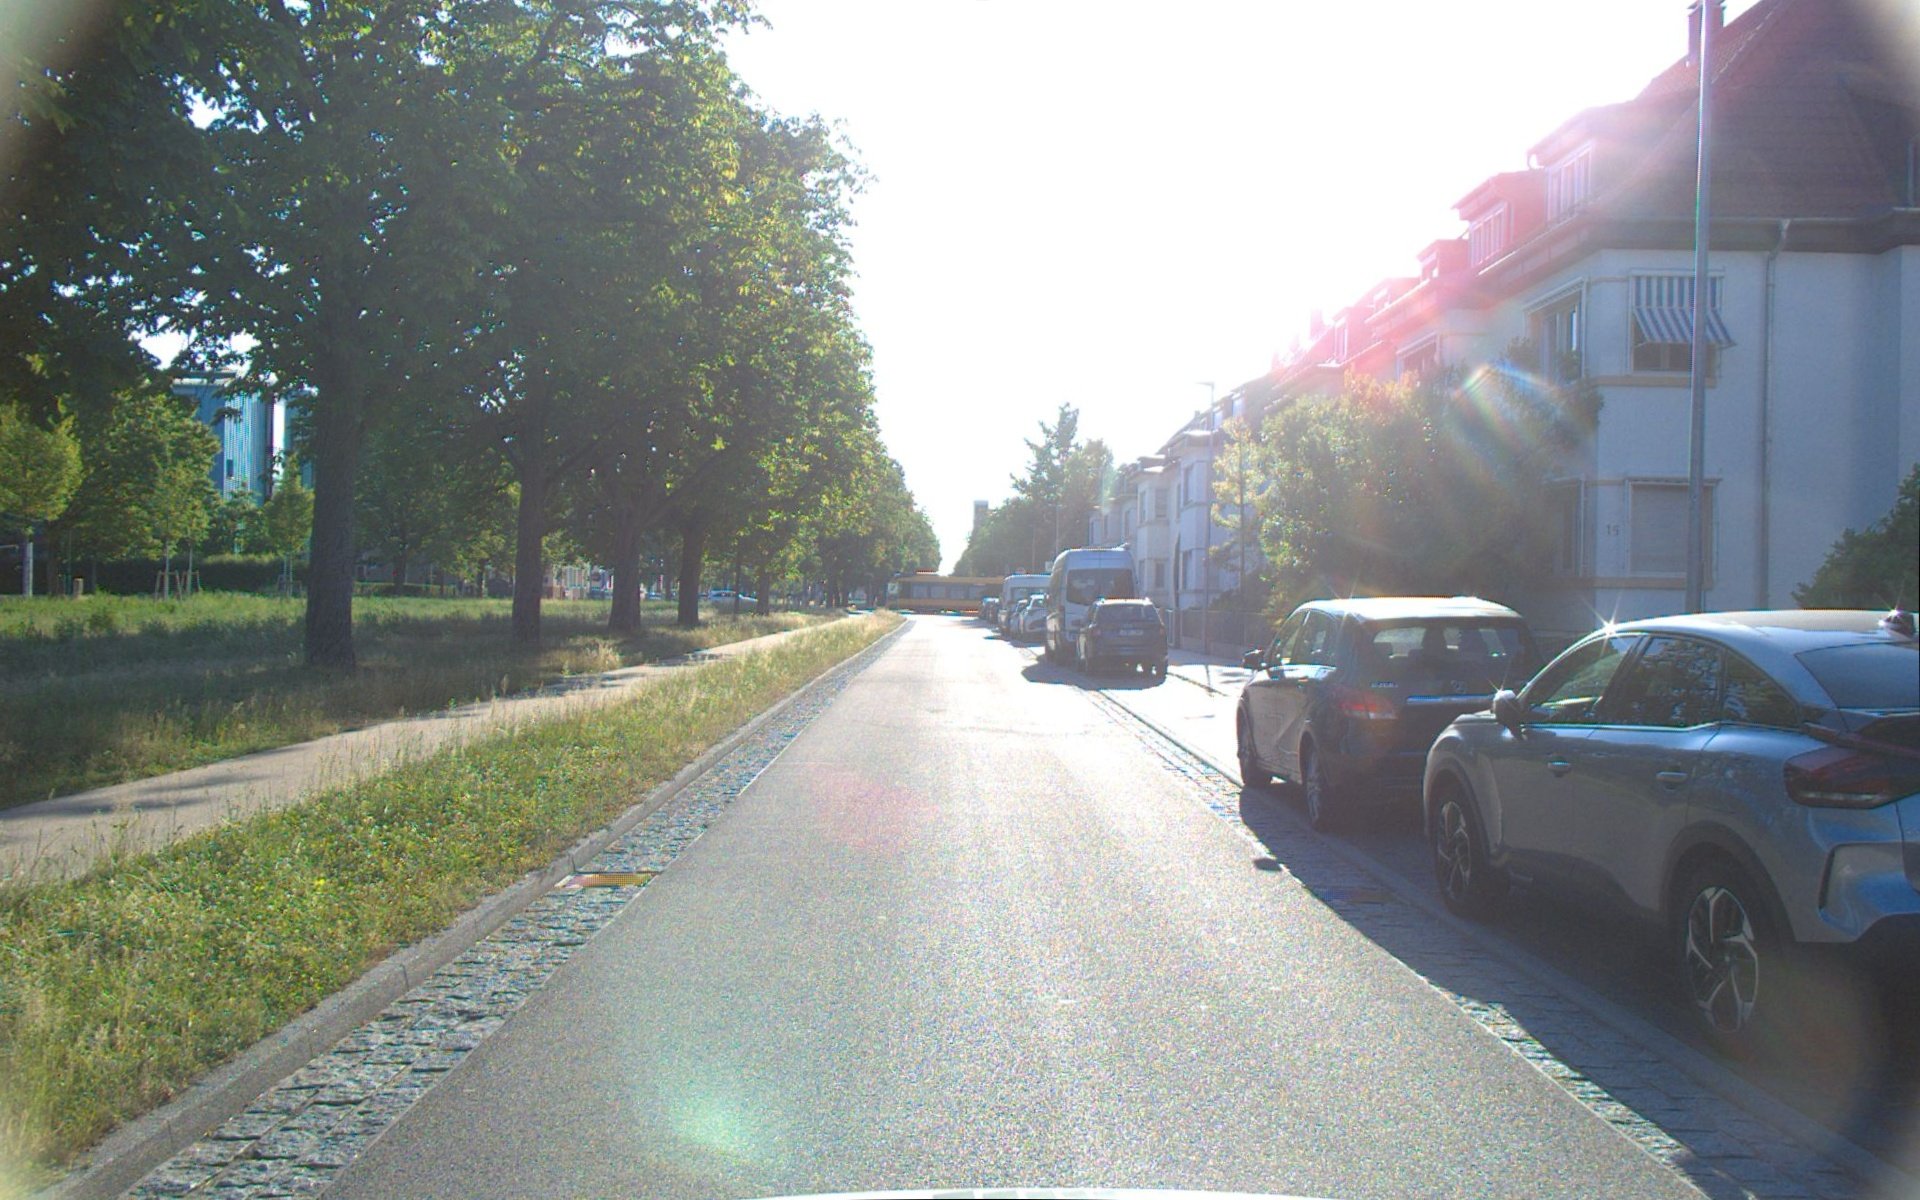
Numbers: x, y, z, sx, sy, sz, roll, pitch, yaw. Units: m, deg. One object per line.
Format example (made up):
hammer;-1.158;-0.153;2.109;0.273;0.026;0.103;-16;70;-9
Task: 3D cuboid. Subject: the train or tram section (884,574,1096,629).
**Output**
train or tram section;2.708;0.189;154.604;19.399;4.025;3.639;3;-1;-5

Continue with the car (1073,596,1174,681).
car;3.281;0.760;33.796;1.630;1.621;4.085;-1;-1;0

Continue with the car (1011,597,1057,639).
car;2.845;0.691;64.160;1.616;1.557;3.851;1;0;1

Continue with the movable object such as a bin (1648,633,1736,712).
movable object such as a bin;11.015;1.077;24.913;0.964;1.119;0.789;3;-1;3

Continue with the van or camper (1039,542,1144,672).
van or camper;3.110;0.221;40.227;1.904;2.826;5.938;3;-1;0

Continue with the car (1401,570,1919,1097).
car;3.447;0.728;7.202;1.684;1.601;4.206;0;-1;-4

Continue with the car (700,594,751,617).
car;-20.277;0.498;143.167;4.266;1.795;1.996;3;-1;-9

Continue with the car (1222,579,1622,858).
car;3.375;0.768;13.024;1.795;1.714;4.414;4;0;0

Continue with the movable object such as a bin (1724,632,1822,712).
movable object such as a bin;12.167;1.063;24.779;1.062;1.119;0.789;3;-1;3

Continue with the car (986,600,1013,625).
car;2.433;0.767;102.418;1.616;1.557;3.851;1;0;1

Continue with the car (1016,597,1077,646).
car;3.043;0.757;59.028;1.800;1.664;4.129;1;0;-2

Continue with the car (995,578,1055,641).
car;2.722;0.404;70.454;2.084;2.577;5.186;1;0;-2
